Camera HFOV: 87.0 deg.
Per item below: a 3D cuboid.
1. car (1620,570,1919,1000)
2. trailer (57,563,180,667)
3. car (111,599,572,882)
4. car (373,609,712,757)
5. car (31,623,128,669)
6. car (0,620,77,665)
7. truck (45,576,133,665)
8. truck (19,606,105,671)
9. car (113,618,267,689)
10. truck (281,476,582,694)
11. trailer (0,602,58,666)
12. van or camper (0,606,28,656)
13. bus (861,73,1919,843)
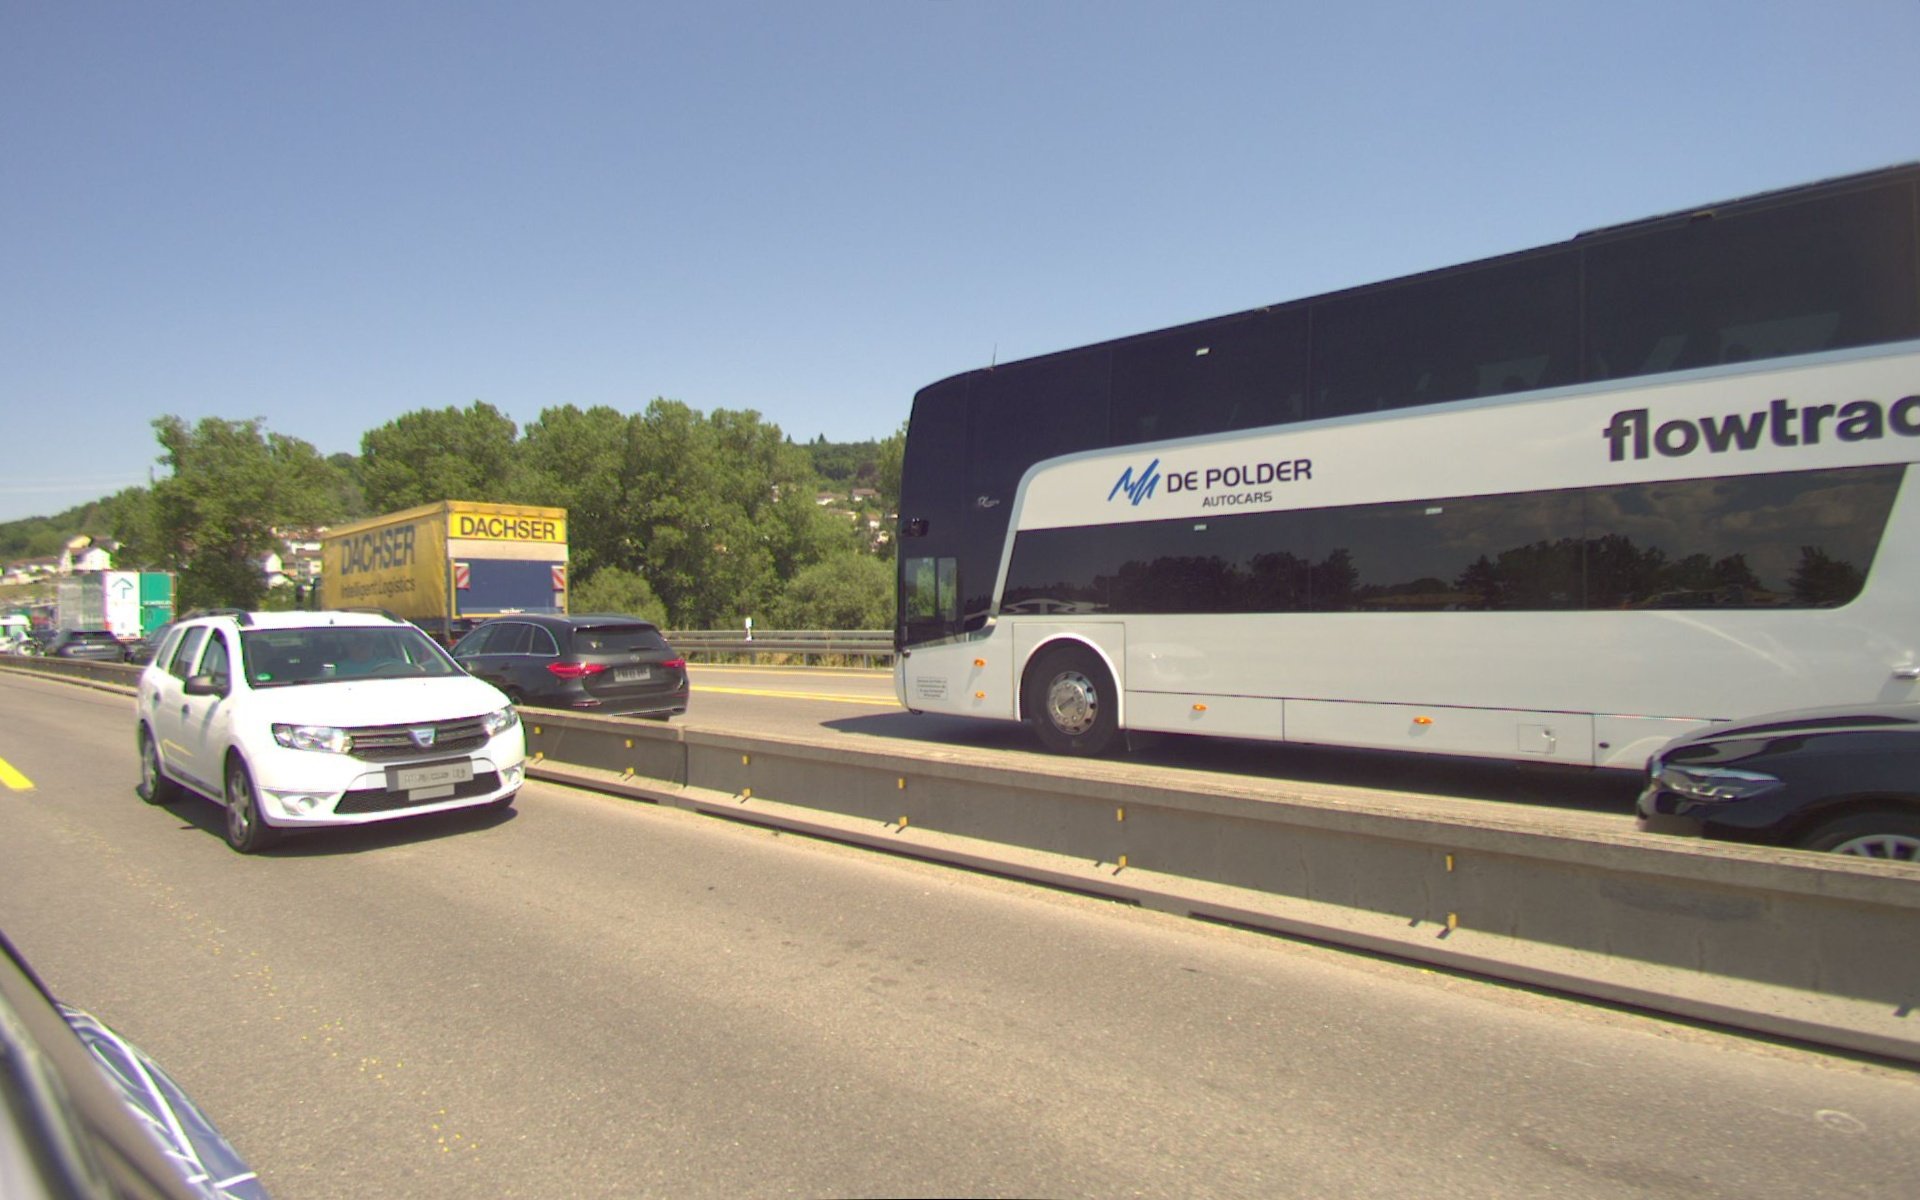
[{"bbox_3d":[5.148,0.546,3.020,5.088,1.434,1.898,-3,0,41],"label":"car"},{"bbox_3d":[-40.936,0.855,48.973,13.164,4.464,2.785,-2,-2,42],"label":"trailer"},{"bbox_3d":[-4.997,0.824,7.832,4.705,1.542,1.799,-2,-1,42],"label":"car"},{"bbox_3d":[-5.246,0.882,12.345,4.927,1.454,1.819,-2,-1,41],"label":"car"},{"bbox_3d":[-30.623,1.572,35.136,5.122,1.443,1.862,-2,-1,41],"label":"car"},{"bbox_3d":[-40.958,1.898,44.608,5.778,1.739,2.347,-4,-1,42],"label":"car"},{"bbox_3d":[-46.584,1.152,54.059,6.223,4.426,2.776,-4,-2,42],"label":"truck"},{"bbox_3d":[-58.215,2.543,65.533,8.359,3.793,2.875,-4,-1,40],"label":"truck"},{"bbox_3d":[-18.164,1.242,23.802,4.900,1.505,1.840,-2,-3,40],"label":"car"},{"bbox_3d":[-12.760,-0.193,23.768,10.074,4.184,2.773,-2,-1,41],"label":"truck"},{"bbox_3d":[-70.903,2.678,76.176,13.015,4.499,3.069,-4,-3,42],"label":"trailer"},{"bbox_3d":[-52.894,1.765,55.292,6.530,2.531,2.195,-4,-2,41],"label":"van or camper"},{"bbox_3d":[5.271,-0.771,7.522,14.467,4.296,2.711,-2,-1,41],"label":"bus"}]
